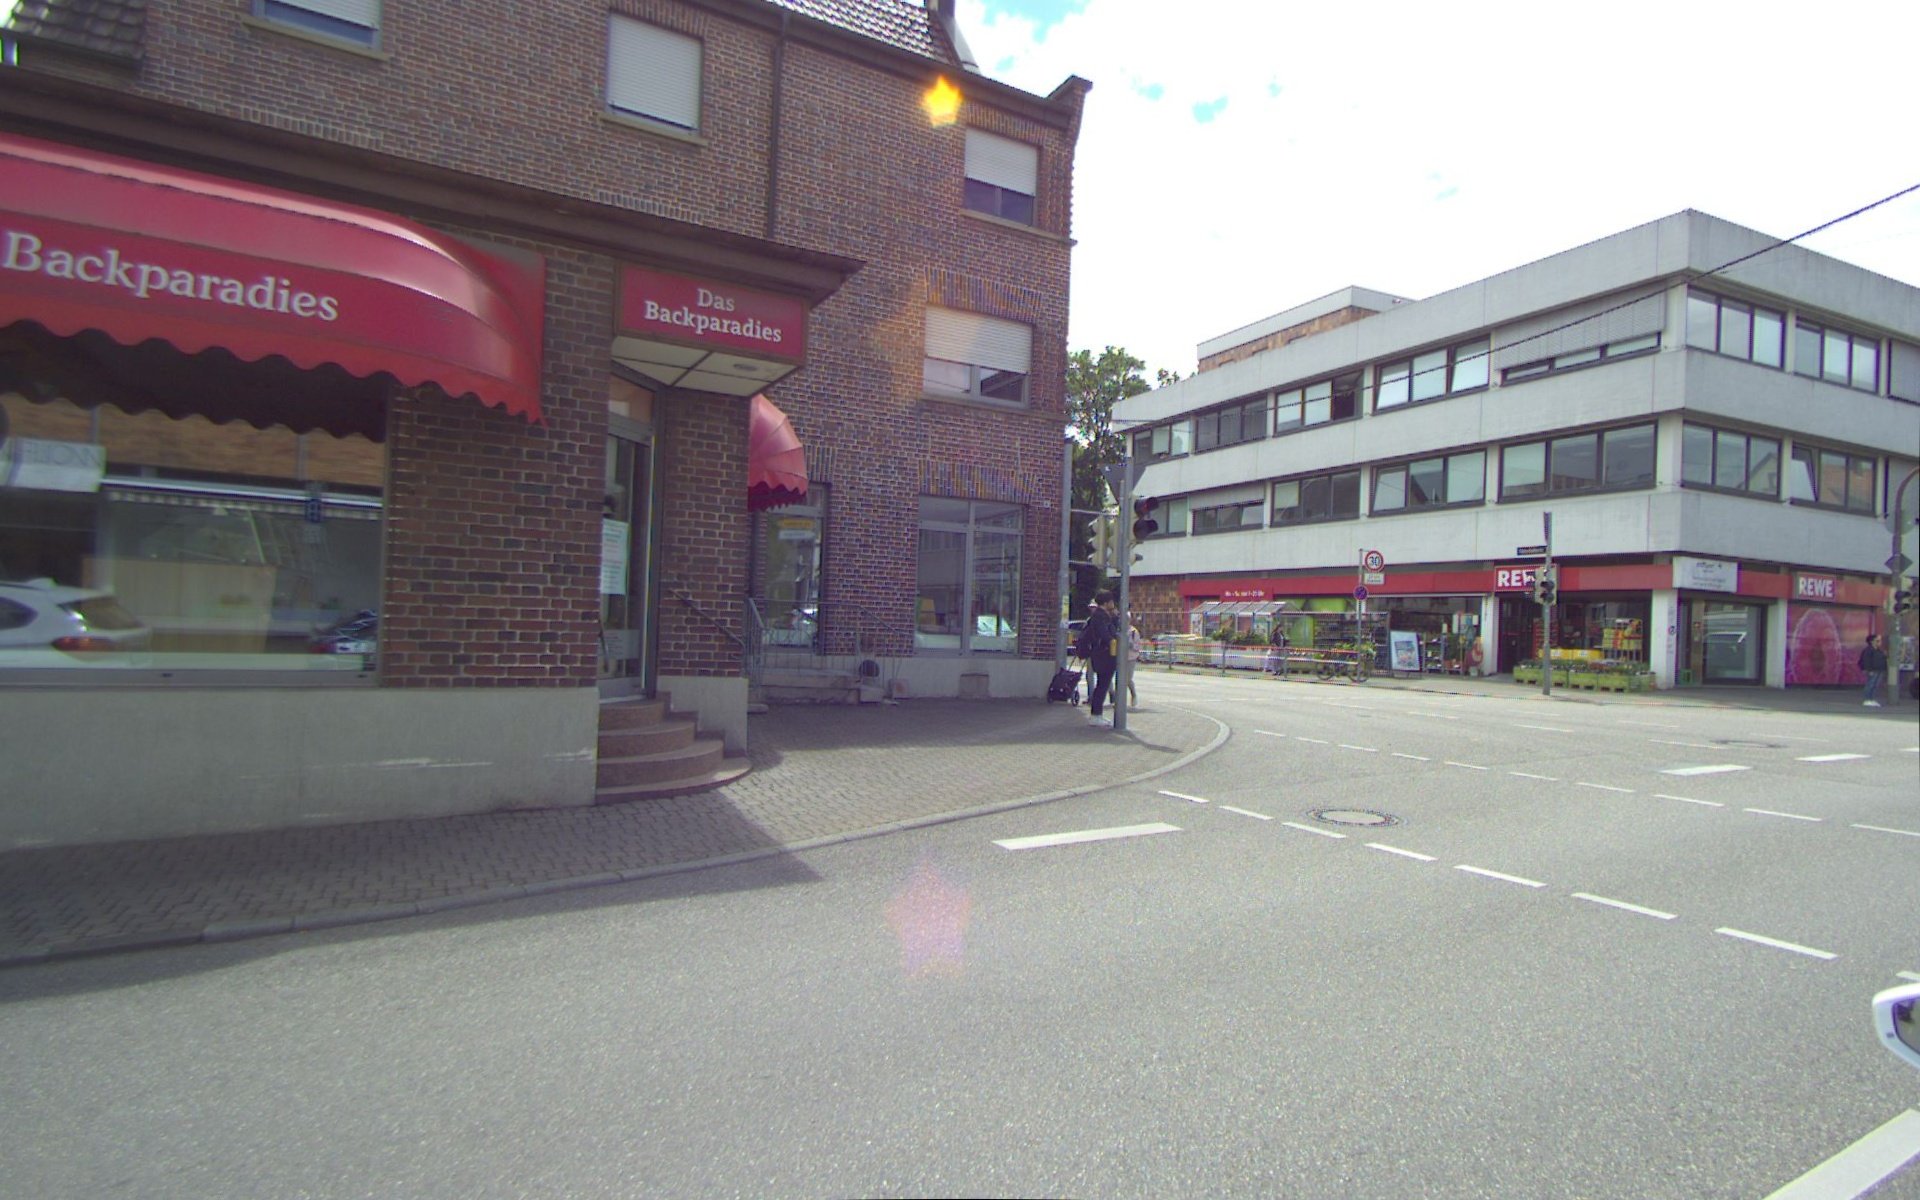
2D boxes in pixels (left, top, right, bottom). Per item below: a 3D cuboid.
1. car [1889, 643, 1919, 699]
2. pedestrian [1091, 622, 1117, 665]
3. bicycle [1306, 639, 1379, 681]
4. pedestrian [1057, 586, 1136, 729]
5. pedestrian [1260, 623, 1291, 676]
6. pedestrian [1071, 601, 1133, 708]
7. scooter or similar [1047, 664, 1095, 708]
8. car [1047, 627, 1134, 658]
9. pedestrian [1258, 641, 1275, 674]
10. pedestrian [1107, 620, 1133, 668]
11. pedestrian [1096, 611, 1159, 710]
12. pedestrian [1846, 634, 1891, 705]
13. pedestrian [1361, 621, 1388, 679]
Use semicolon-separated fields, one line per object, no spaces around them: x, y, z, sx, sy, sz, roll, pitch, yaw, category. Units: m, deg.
27.742;2.018;27.689;4.033;1.484;1.779;3;0;-26;car
5.500;1.652;38.331;0.671;1.598;0.727;2;-2;-37;pedestrian
11.101;1.735;29.225;0.769;1.157;1.867;3;-3;-39;bicycle
1.794;0.746;13.202;0.712;1.820;0.622;4;-1;-32;pedestrian
10.139;1.585;32.265;0.712;1.618;0.695;3;-1;34;pedestrian
2.307;0.882;16.318;0.753;1.680;0.521;4;-1;-32;pedestrian
1.744;1.335;15.696;0.374;0.654;0.807;-1;-3;37;scooter or similar
6.105;1.993;47.018;3.669;1.338;1.776;2;-1;-20;car
9.720;1.832;31.870;0.357;1.018;0.384;3;-1;35;pedestrian
6.197;1.708;38.986;0.671;1.860;0.727;2;-1;-37;pedestrian
2.652;0.958;15.884;0.753;1.504;0.521;4;-1;-32;pedestrian
21.664;1.652;23.954;0.652;1.663;0.616;2;-1;-28;pedestrian
13.150;1.578;31.841;0.612;1.799;0.554;3;-1;36;pedestrian
